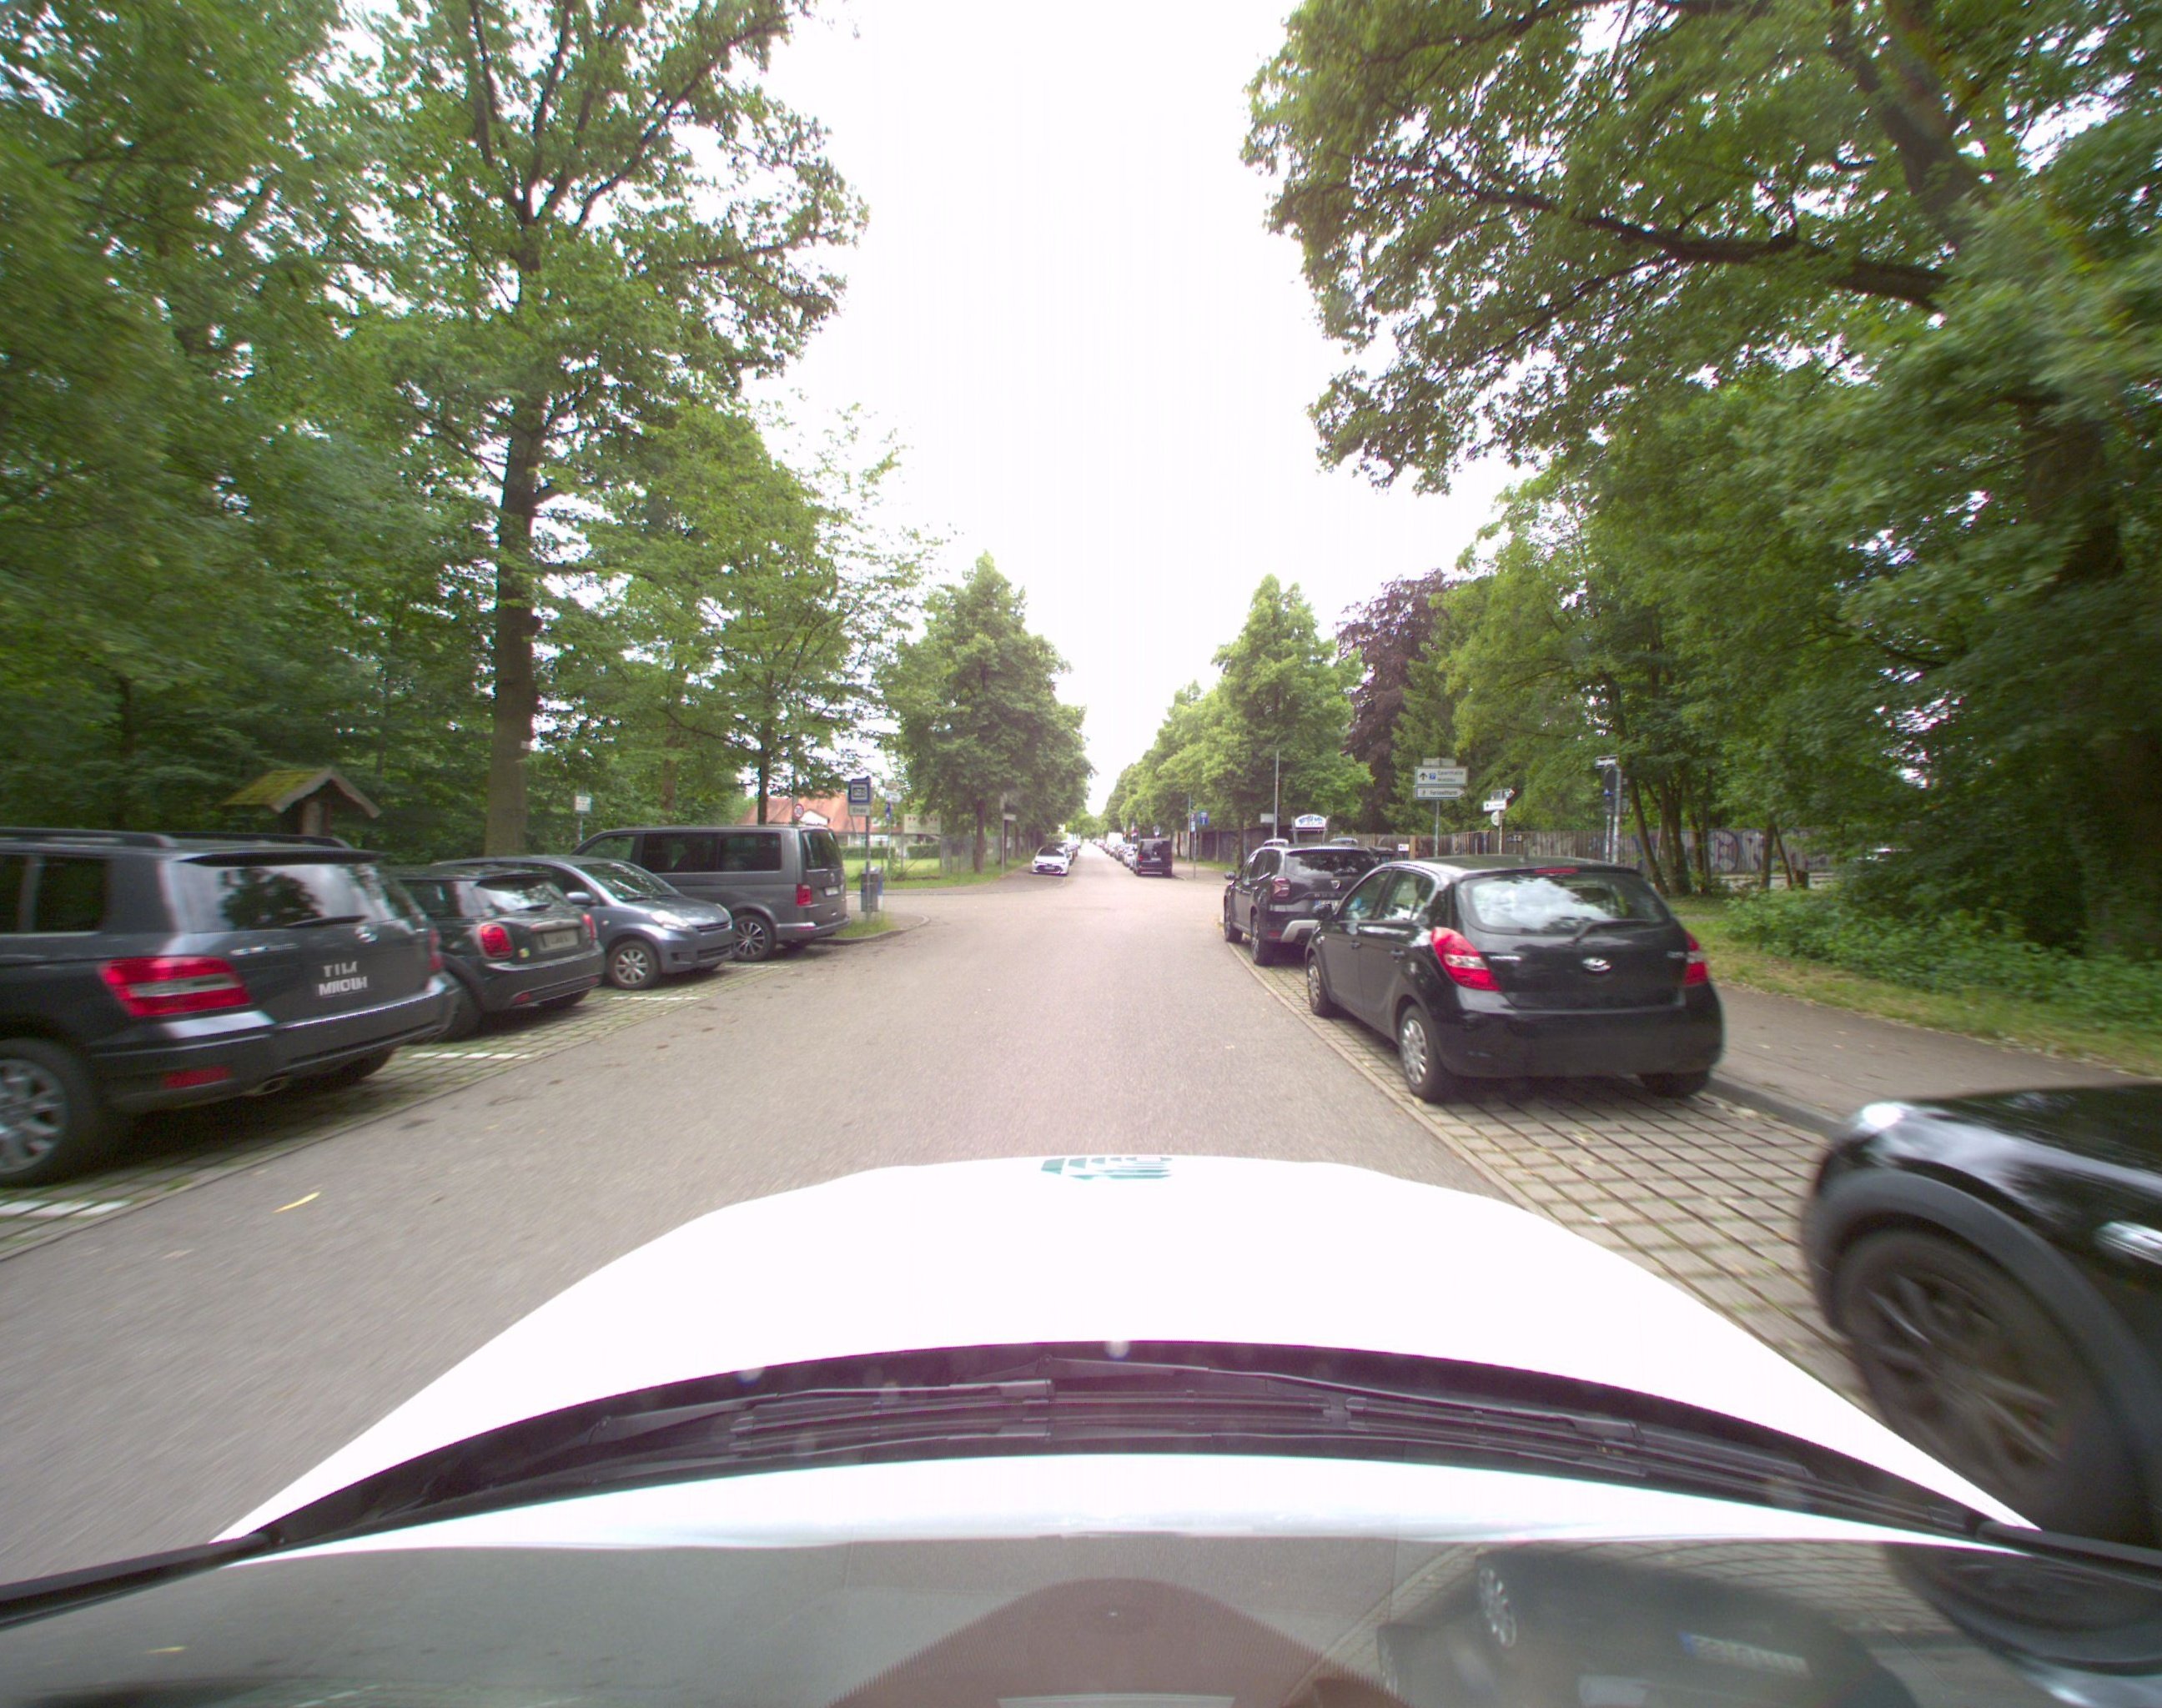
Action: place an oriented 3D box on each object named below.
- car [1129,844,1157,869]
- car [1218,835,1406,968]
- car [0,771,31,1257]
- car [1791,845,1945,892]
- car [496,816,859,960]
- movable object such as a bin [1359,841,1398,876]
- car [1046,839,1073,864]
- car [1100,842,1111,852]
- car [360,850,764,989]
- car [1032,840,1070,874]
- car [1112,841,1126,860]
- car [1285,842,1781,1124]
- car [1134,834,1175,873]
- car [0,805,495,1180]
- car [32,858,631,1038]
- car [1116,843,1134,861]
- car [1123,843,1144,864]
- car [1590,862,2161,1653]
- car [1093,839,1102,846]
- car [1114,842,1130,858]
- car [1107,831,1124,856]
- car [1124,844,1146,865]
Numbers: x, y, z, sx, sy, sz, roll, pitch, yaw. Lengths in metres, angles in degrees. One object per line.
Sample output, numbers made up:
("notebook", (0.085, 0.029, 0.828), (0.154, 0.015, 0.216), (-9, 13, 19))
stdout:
("car", (3.846, 0.151, 50.691), (1.591, 1.481, 3.523), (0, 1, 2))
("car", (3.194, 0.574, 12.162), (1.729, 1.633, 4.378), (0, 0, 2))
("car", (-6.129, 0.605, 2.283), (3.974, 1.862, 1.813), (0, 0, 0))
("car", (28.023, 0.477, 29.060), (3.986, 1.507, 1.909), (0, 4, -9))
("car", (-5.862, 0.476, 12.283), (4.489, 1.978, 1.890), (0, -1, -1))
("movable object such as a bin", (12.561, 0.189, 34.360), (1.293, 1.442, 1.066), (0, -1, -43))
("car", (-1.451, -0.174, 55.685), (1.687, 1.596, 3.997), (2, 1, -1))
("car", (4.807, -1.397, 161.801), (1.984, 2.014, 4.004), (0, 0, 4))
("car", (-6.210, 0.737, 10.067), (3.799, 1.512, 1.811), (-1, 1, 3))
("car", (-1.524, 0.119, 41.603), (1.760, 1.596, 4.213), (2, 1, -2))
("car", (4.102, -0.387, 88.088), (1.463, 1.967, 3.190), (0, 1, 2))
("car", (2.933, 0.677, 6.458), (1.729, 1.494, 4.236), (0, 0, 2))
("car", (3.942, -0.038, 44.069), (1.980, 2.013, 4.110), (0, 1, 2))
("car", (-6.070, 0.639, 4.714), (3.976, 1.765, 1.823), (0, 0, -2))
("car", (-6.676, 0.778, 7.588), (3.973, 1.430, 1.721), (0, 0, 1))
("car", (3.890, -0.180, 72.320), (1.463, 1.531, 3.190), (0, 1, 2))
("car", (4.069, -0.056, 63.377), (1.463, 1.531, 3.190), (0, 1, 2))
("car", (2.869, 0.762, 0.927), (1.731, 1.432, 4.500), (0, 0, -1))
("car", (4.064, -2.784, 195.582), (1.890, 1.706, 4.068), (0, 0, 4))
("car", (3.879, -0.401, 78.050), (1.463, 1.531, 3.190), (0, 1, 2))
("car", (4.286, -1.279, 101.659), (2.176, 3.015, 4.899), (0, 1, 2))
("car", (3.812, 0.031, 58.244), (1.463, 1.481, 3.190), (0, 1, 2))
